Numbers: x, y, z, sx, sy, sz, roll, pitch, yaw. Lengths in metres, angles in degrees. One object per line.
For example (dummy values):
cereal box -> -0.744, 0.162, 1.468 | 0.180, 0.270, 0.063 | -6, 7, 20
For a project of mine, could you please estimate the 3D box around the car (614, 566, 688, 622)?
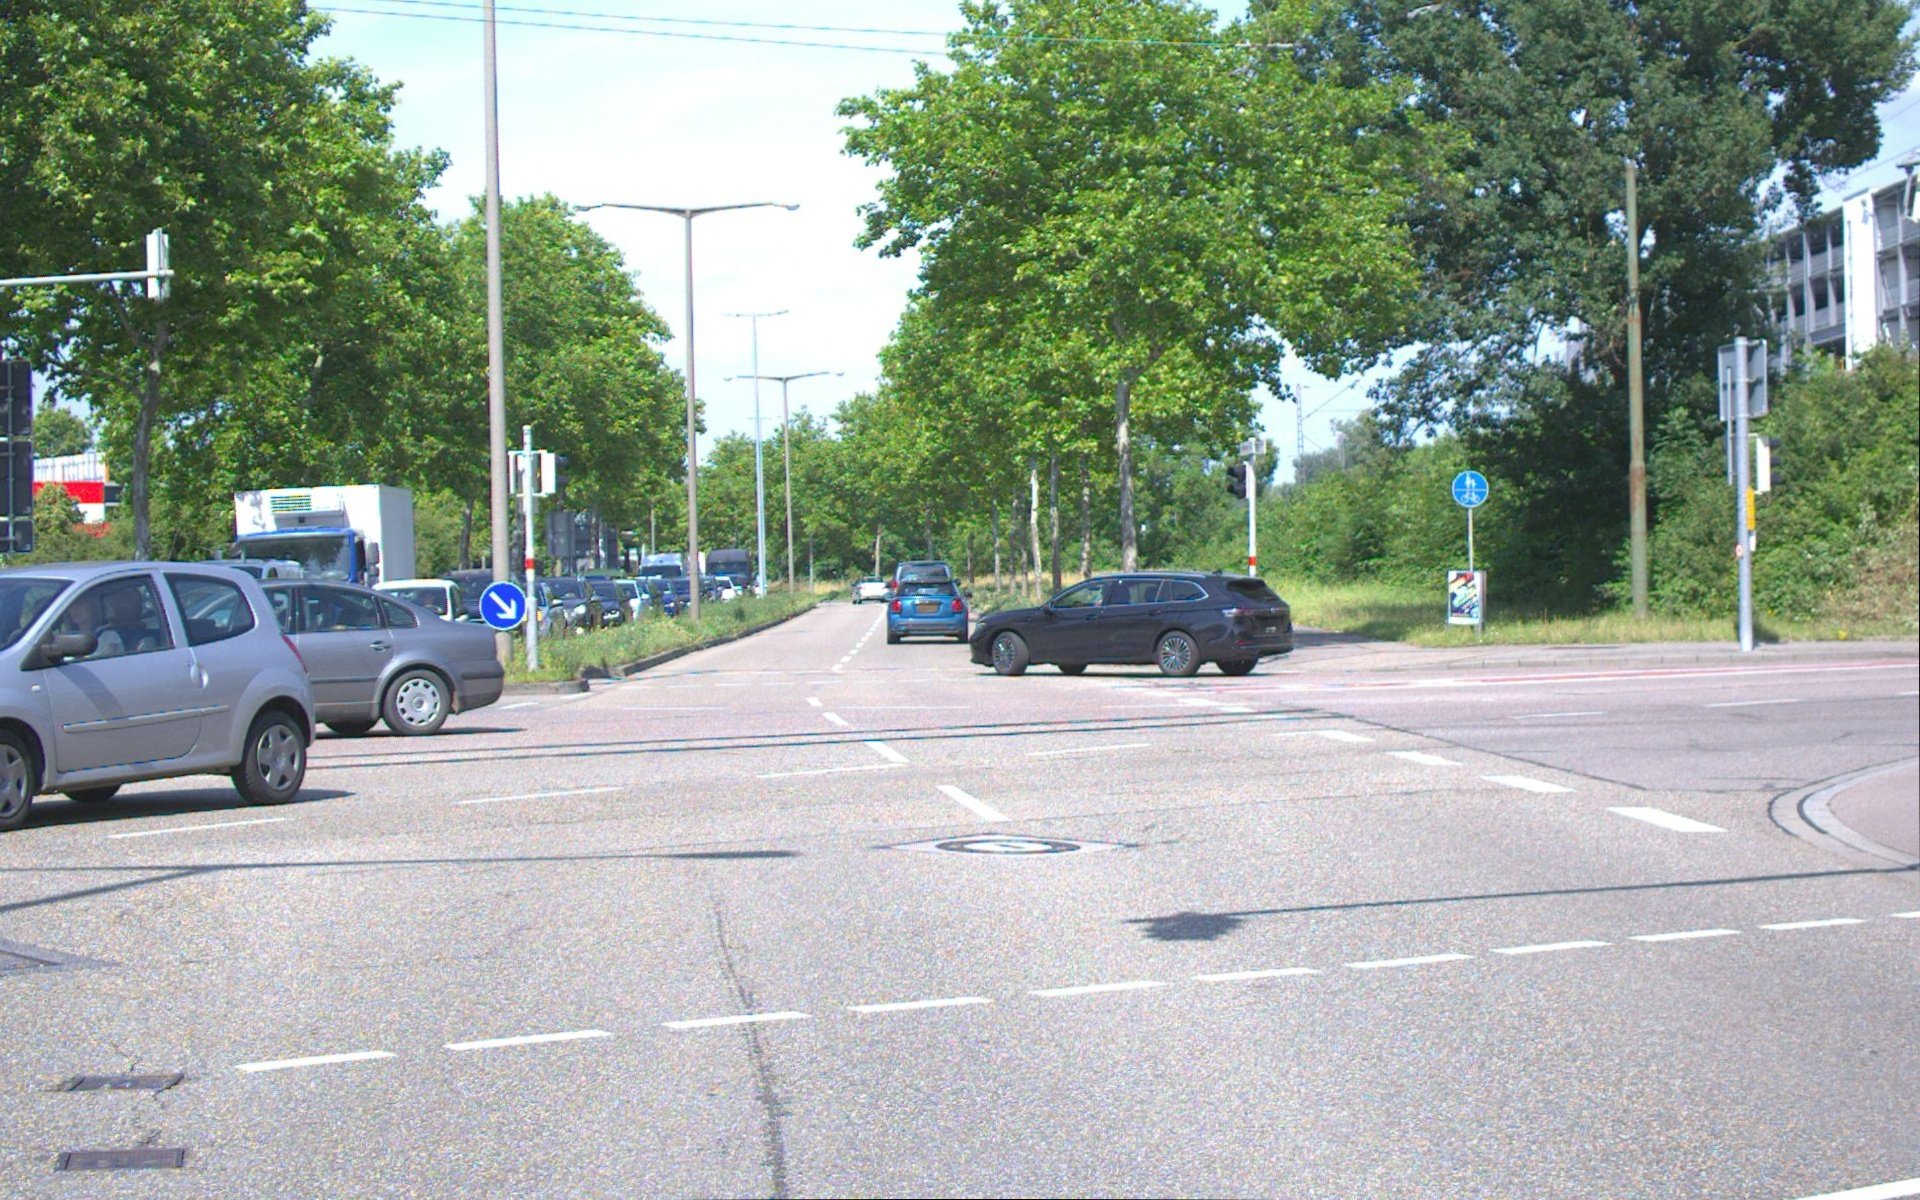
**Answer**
car -> -8.750, -0.184, 97.563 | 1.784, 1.484, 4.212 | -2, 1, -2

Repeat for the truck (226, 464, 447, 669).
truck -> -11.416, -0.659, 63.558 | 2.804, 3.459, 6.692 | -3, 1, -1

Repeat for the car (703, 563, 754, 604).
car -> -8.870, -0.648, 131.953 | 1.689, 1.505, 3.815 | -2, 1, -1

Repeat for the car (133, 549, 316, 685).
car -> -11.339, 0.215, 53.321 | 1.976, 1.992, 5.032 | -1, 1, -3

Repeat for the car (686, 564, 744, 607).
car -> -8.902, -0.542, 125.191 | 1.783, 1.454, 4.472 | -2, 1, -1

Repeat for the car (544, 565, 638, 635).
car -> -8.474, -0.024, 79.231 | 1.689, 1.468, 4.218 | -3, 1, -1

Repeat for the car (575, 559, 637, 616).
car -> -12.225, -0.438, 118.901 | 1.689, 1.852, 4.036 | -2, 0, -1

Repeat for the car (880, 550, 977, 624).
car -> -0.682, -0.301, 73.347 | 1.993, 1.514, 4.000 | -1, 1, -1

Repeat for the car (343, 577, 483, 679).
car -> -8.568, 0.412, 54.085 | 1.593, 1.472, 3.729 | -2, 1, -1

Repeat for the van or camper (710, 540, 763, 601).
van or camper -> -9.134, -1.193, 140.705 | 1.938, 2.360, 5.398 | -2, 0, -2

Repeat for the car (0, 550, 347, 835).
car -> -5.377, 0.492, 19.842 | 1.651, 1.509, 3.730 | 0, 1, 28

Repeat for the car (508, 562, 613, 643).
car -> -8.334, 0.033, 71.957 | 1.689, 1.581, 4.240 | -2, 1, -1

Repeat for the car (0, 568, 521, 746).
car -> -6.262, 0.456, 30.392 | 4.448, 1.407, 1.639 | -1, 1, -34

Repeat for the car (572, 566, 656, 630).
car -> -8.520, -0.055, 84.868 | 1.689, 1.467, 3.815 | -2, 1, -1

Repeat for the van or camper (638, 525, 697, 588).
van or camper -> -12.566, -1.862, 147.871 | 2.015, 2.579, 5.517 | -2, 1, -1

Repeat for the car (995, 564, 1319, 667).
car -> 2.792, 0.212, 49.068 | 4.259, 1.386, 1.836 | 0, 1, 33

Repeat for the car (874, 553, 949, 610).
car -> -1.315, -0.519, 94.286 | 1.993, 1.514, 4.000 | -1, 1, -1
